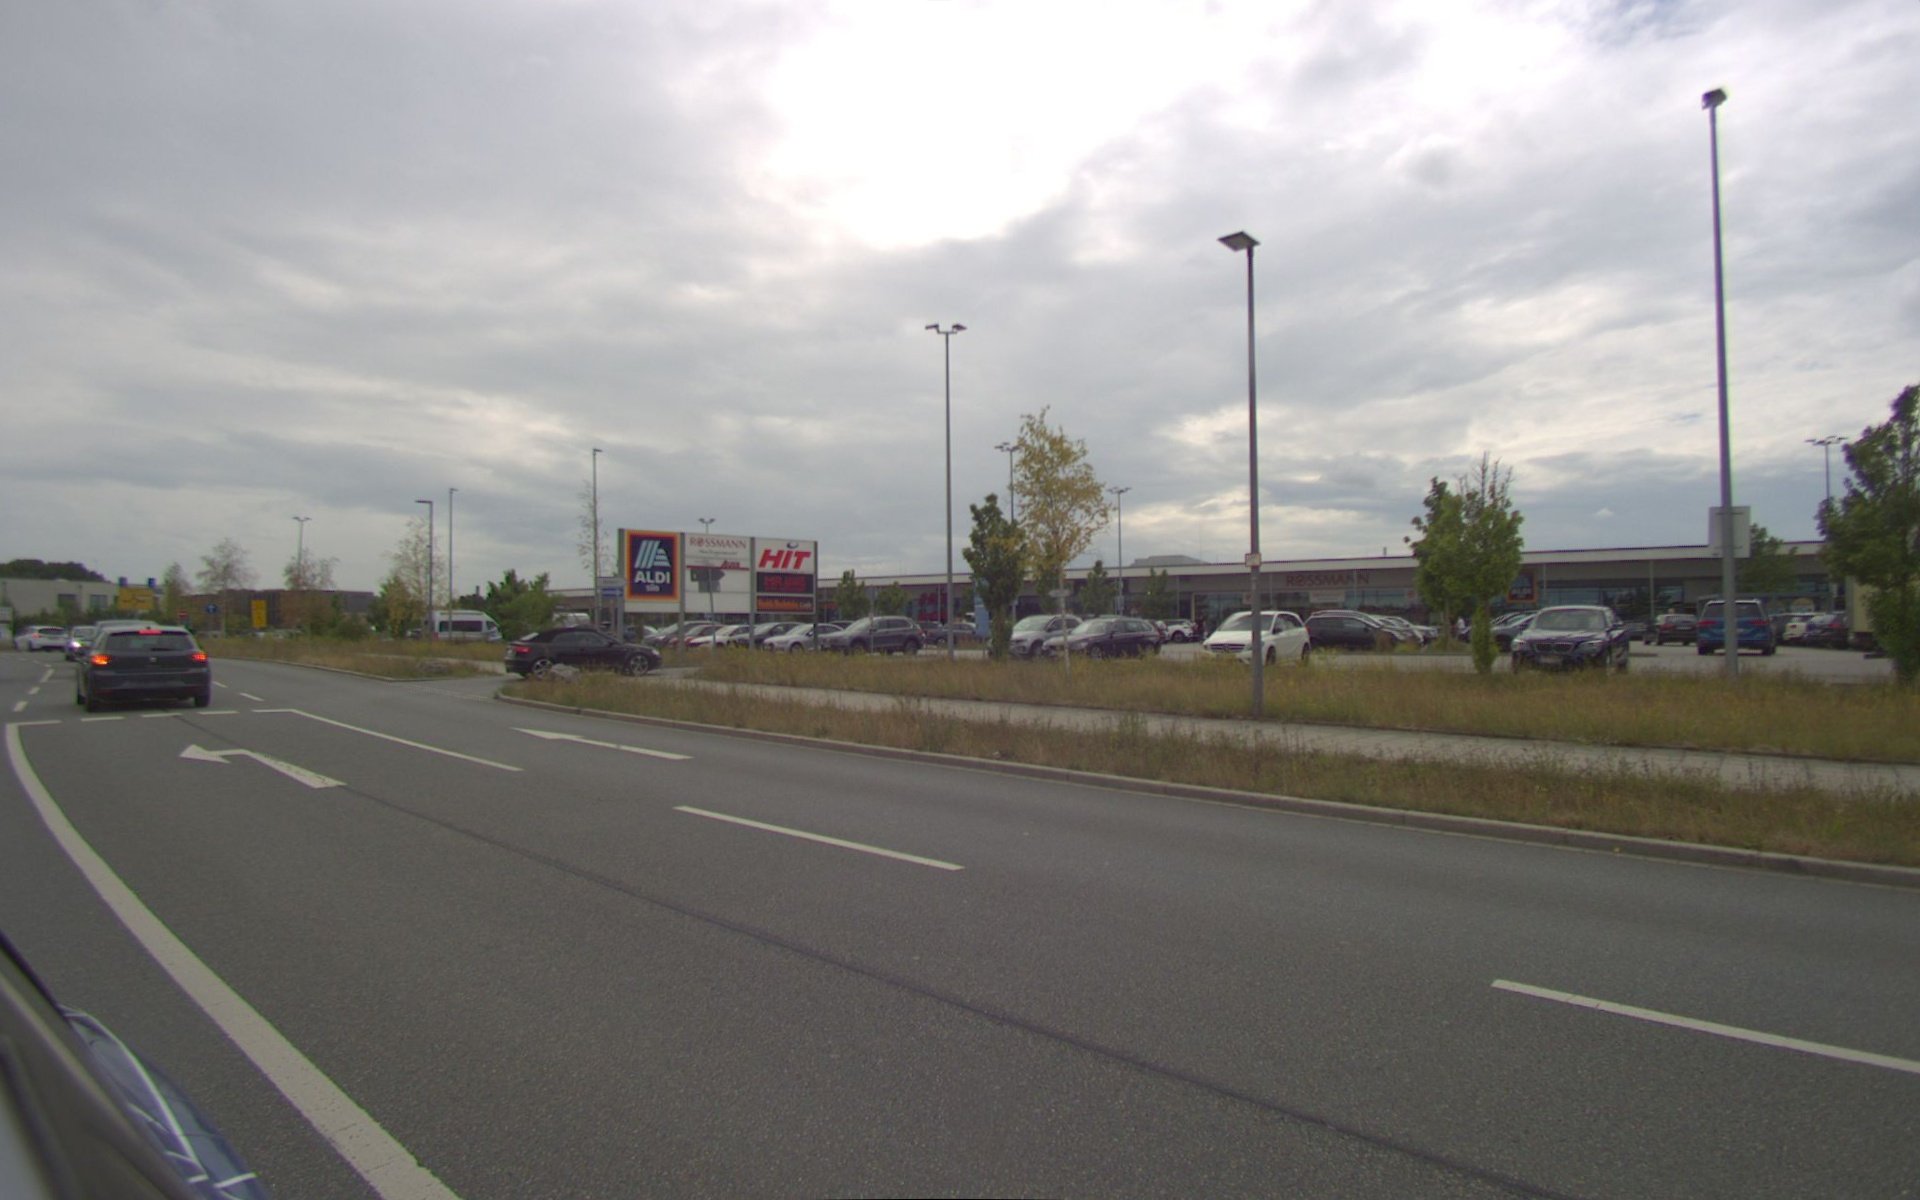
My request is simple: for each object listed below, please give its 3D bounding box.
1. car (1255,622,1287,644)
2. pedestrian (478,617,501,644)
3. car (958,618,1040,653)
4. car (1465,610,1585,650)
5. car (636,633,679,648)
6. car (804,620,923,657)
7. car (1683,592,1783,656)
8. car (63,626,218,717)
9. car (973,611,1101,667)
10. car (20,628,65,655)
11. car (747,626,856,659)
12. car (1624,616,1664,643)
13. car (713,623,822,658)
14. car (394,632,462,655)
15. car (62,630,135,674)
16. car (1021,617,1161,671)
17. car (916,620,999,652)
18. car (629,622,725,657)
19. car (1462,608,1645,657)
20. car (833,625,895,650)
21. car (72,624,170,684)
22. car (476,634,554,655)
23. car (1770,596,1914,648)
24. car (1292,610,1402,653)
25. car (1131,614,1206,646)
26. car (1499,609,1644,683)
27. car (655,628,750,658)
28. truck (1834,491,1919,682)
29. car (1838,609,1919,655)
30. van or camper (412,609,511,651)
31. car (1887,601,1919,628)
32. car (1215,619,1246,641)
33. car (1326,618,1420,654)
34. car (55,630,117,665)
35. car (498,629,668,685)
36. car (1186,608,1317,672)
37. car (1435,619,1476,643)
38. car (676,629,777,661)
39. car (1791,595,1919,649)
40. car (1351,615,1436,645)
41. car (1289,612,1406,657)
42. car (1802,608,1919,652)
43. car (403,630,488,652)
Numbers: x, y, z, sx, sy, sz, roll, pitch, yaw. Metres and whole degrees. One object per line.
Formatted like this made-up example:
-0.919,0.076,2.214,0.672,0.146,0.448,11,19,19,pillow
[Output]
23.126,2.465,75.165,1.986,1.619,3.970,-1,-2,22,car
-32.608,2.122,70.160,1.112,1.904,0.998,-2,-3,37,pedestrian
2.289,2.077,58.637,4.414,1.936,1.826,-1,-2,20,car
24.169,1.320,43.429,4.367,1.619,1.980,-2,-3,29,car
-30.086,4.044,100.618,3.988,1.453,1.977,-2,-3,33,car
-3.806,1.528,40.406,4.304,1.402,2.168,1,-3,-41,car
23.422,0.746,30.624,1.978,1.785,3.943,-3,-3,43,car
-14.945,1.213,18.368,1.808,1.431,4.248,1,-2,-44,car
2.587,1.243,33.201,2.028,1.736,4.196,-2,-2,43,car
-58.283,2.619,64.275,1.970,1.649,4.707,4,-4,-43,car
-6.696,1.784,43.162,2.027,1.350,4.264,-3,-3,44,car
43.586,1.875,64.561,1.994,1.619,3.955,-1,-2,33,car
-8.605,1.805,45.423,4.312,1.517,2.242,1,-3,-43,car
-38.437,3.125,73.192,2.083,1.646,3.904,-2,-3,40,car
-31.312,1.843,36.741,1.857,1.480,4.198,2,-2,-42,car
4.043,1.297,30.883,4.191,1.525,2.048,1,-2,-43,car
-0.117,1.942,53.958,3.979,1.619,1.982,-2,-2,27,car
-14.382,2.005,51.480,2.081,1.667,4.251,-3,-3,45,car
20.458,1.165,35.200,5.242,1.619,1.983,-1,-2,25,car
-7.503,2.898,78.903,4.282,1.888,2.225,-2,-2,26,car
-24.365,1.531,29.325,1.969,1.573,4.618,1,-3,-42,car
-29.169,2.908,66.403,2.010,1.314,4.278,-2,-3,41,car
36.377,0.928,41.879,3.976,2.029,1.984,-1,-2,24,car
15.444,1.271,40.361,3.977,1.619,1.838,-1,-2,25,car
12.136,1.772,59.064,3.985,1.830,1.642,-1,-2,31,car
13.345,0.979,21.968,1.997,1.446,4.188,-2,-3,41,car
-12.606,2.097,49.638,4.034,1.402,2.003,1,-3,-42,car
20.398,-0.331,16.767,2.809,3.568,8.456,0,-2,-25,truck
32.805,1.079,34.302,4.211,1.530,1.980,-2,-3,29,car
-34.608,2.097,70.459,2.240,2.821,5.796,-1,-2,38,van or camper
59.327,0.917,62.747,1.994,1.619,3.955,-1,-2,33,car
20.590,2.293,76.923,1.849,1.619,3.970,-1,-2,22,car
19.449,1.724,47.627,3.977,1.619,1.983,-1,-2,25,car
-37.409,2.024,43.282,4.034,1.449,1.683,-3,-3,44,car
-10.487,1.550,28.263,4.159,1.449,1.779,1,-2,-33,car
7.929,1.073,27.293,1.986,1.571,4.207,-2,-3,37,car
33.328,2.080,68.006,1.994,1.619,3.955,-1,-2,33,car
-10.983,2.093,47.753,4.268,1.468,2.012,2,-3,-44,car
35.244,0.861,39.422,3.976,2.029,1.984,-1,-2,24,car
24.385,1.699,57.003,4.269,1.619,1.983,-1,-2,25,car
14.546,1.315,37.990,3.977,1.619,1.983,-1,-2,25,car
33.647,1.106,36.986,3.977,1.553,1.983,-1,-2,25,car
-29.924,2.385,58.965,4.031,1.269,2.013,2,-3,-43,car
